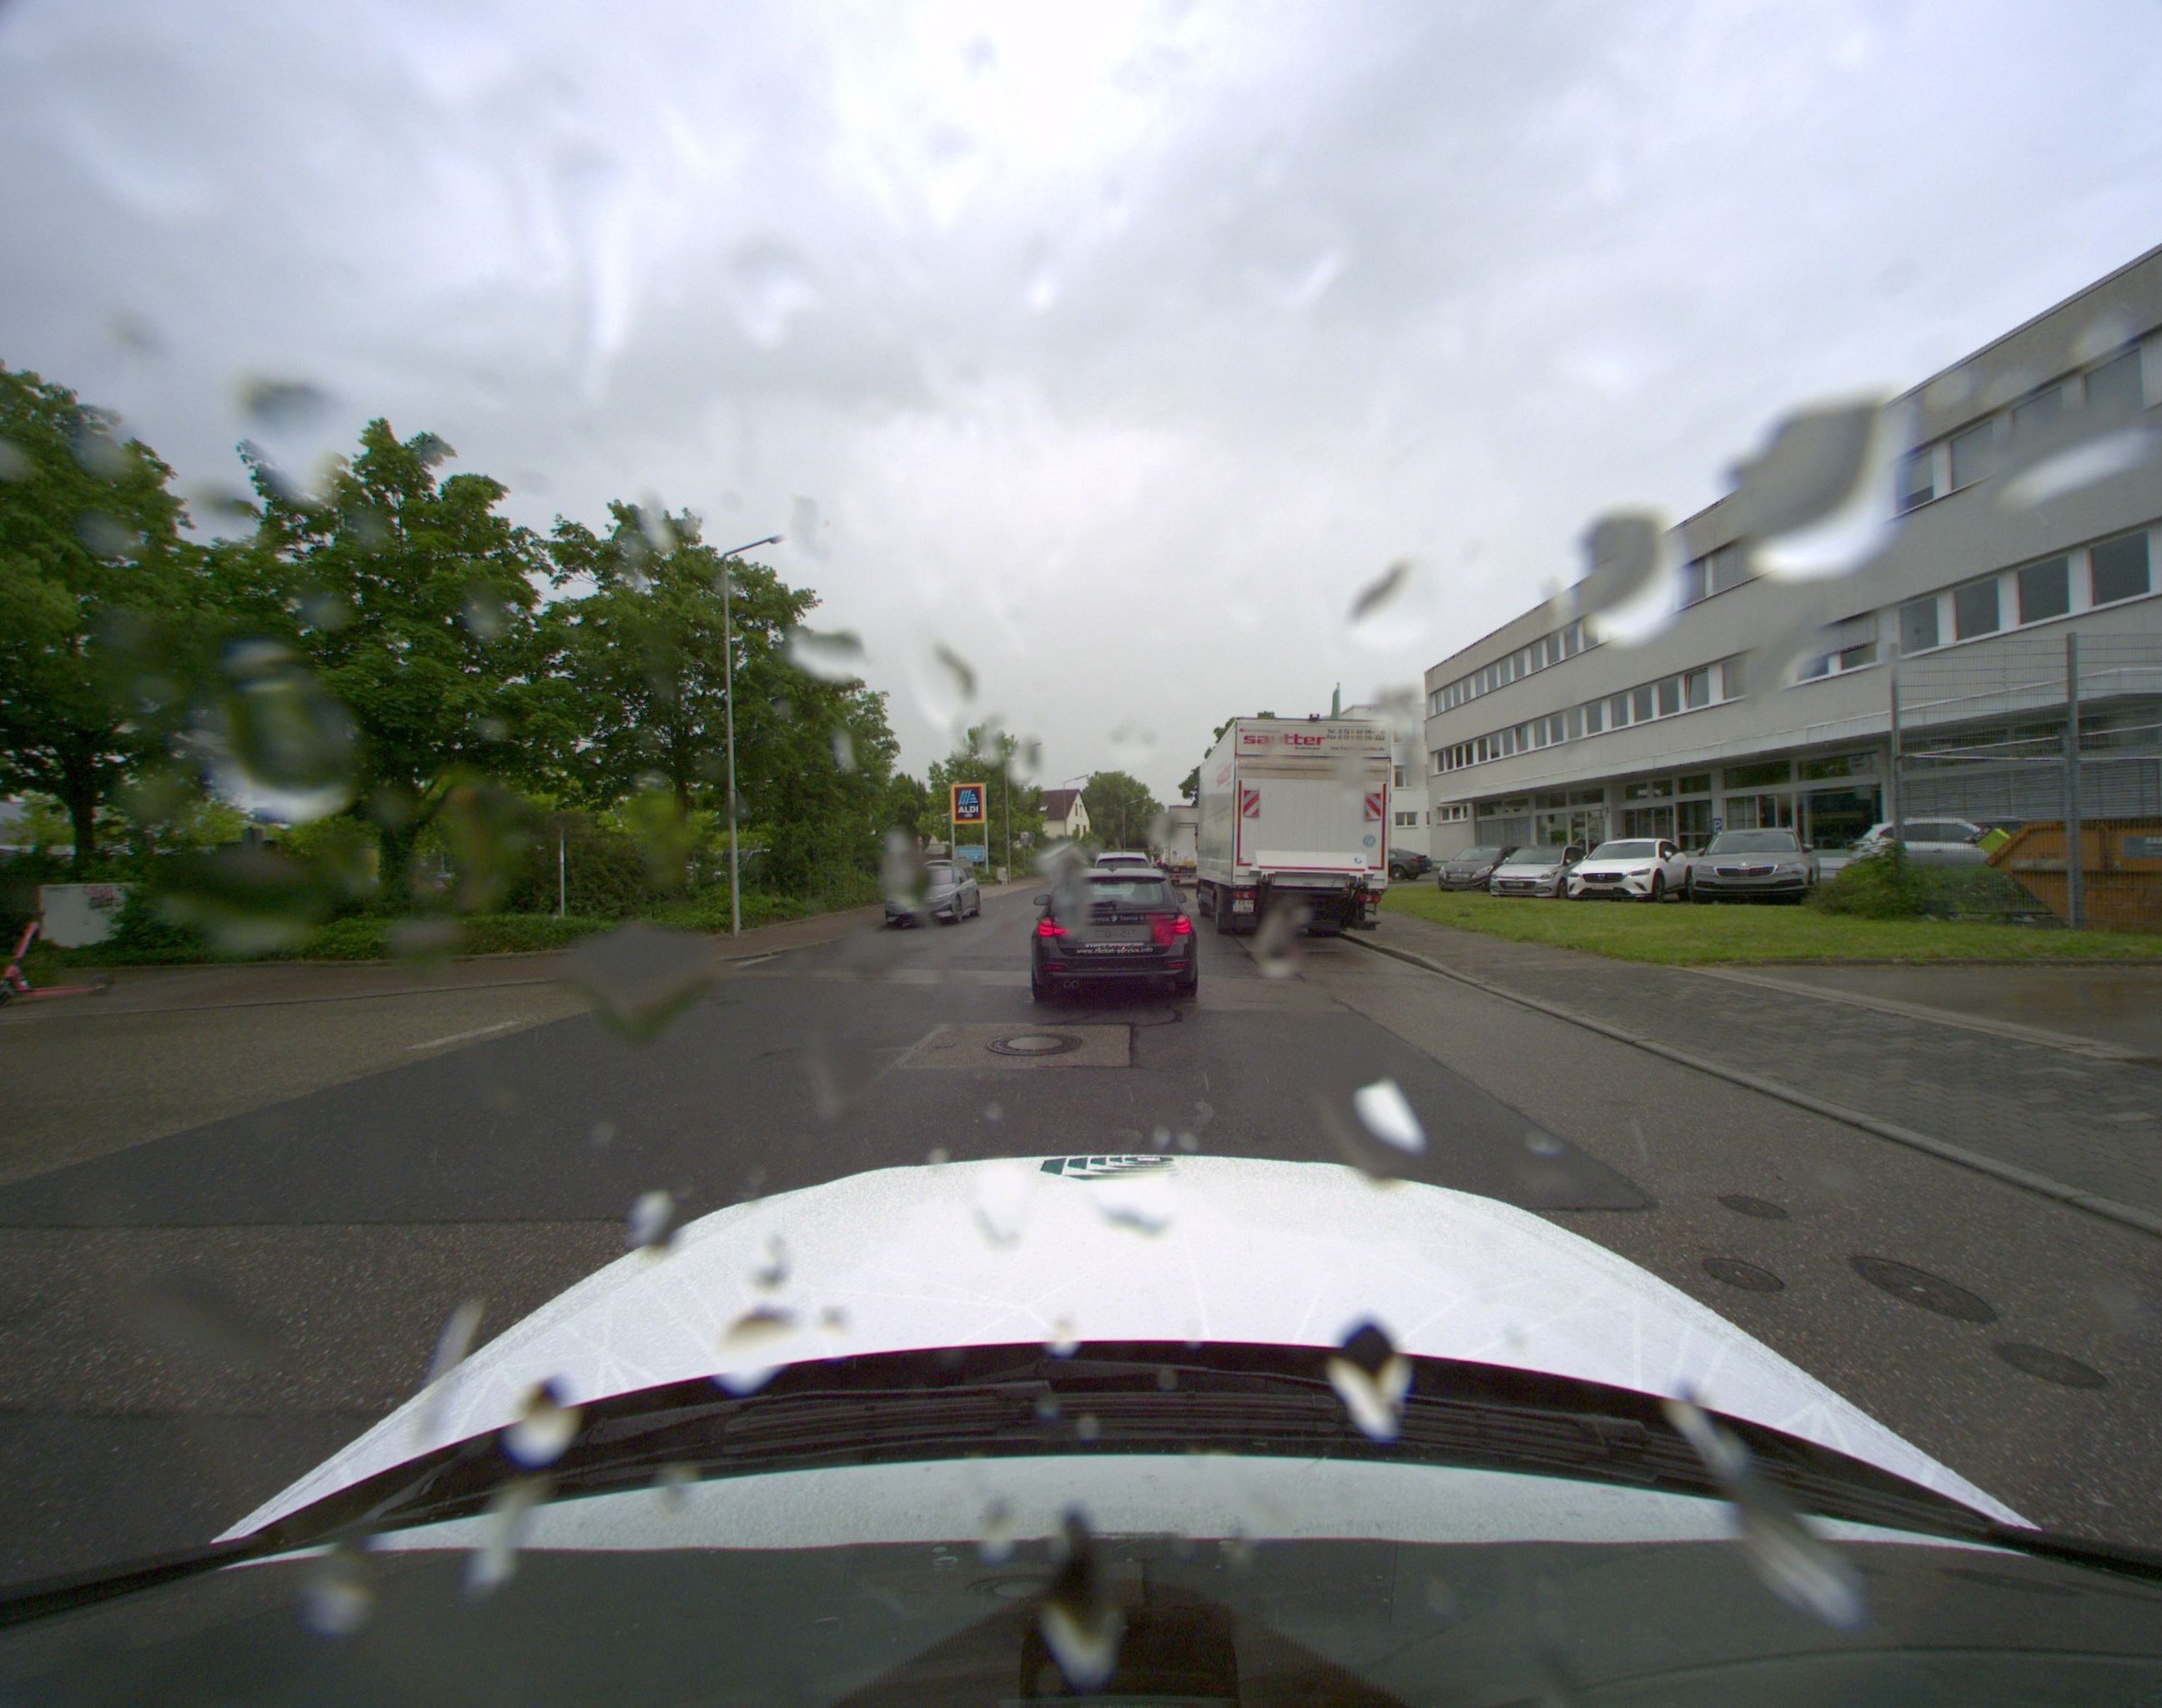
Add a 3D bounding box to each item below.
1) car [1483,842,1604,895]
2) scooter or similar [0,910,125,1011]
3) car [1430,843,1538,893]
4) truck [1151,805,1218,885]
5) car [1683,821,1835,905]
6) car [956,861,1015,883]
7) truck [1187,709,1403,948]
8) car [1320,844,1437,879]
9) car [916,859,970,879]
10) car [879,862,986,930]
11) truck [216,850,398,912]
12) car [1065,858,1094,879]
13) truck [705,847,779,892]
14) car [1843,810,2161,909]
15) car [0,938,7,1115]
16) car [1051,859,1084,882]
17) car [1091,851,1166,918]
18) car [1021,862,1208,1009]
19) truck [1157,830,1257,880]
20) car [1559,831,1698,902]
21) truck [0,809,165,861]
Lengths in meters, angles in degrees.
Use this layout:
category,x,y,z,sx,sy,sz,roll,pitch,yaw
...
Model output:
category,x,y,z,sx,sy,sz,roll,pitch,yaw
car,12.731,0.361,22.311,4.022,1.286,1.686,-2,0,-42
scooter or similar,-13.287,1.354,10.606,0.282,1.175,1.063,-2,-1,10
car,12.599,0.392,25.372,3.789,1.393,1.686,-2,0,-42
truck,5.089,-0.415,41.235,2.730,3.611,7.755,1,0,3
car,14.065,0.147,16.811,4.022,1.527,1.850,-2,0,-42
car,-6.284,1.174,53.641,3.553,1.460,1.714,0,0,4
truck,4.033,-0.405,17.699,2.729,3.789,9.307,1,0,3
car,13.475,0.370,37.025,4.616,1.468,1.802,-2,0,41
car,-11.430,1.218,67.660,3.969,1.540,1.912,-2,0,3
car,-3.979,1.060,22.628,1.802,1.528,4.750,-5,-1,2
truck,-35.877,1.172,38.096,1.984,2.601,6.404,-2,0,5
car,-0.103,1.065,61.595,1.697,1.367,3.845,-4,0,6
truck,-22.477,1.009,54.364,1.986,2.753,6.470,-2,0,2
car,18.285,0.104,16.433,1.986,1.706,4.145,-2,0,2
car,-8.725,0.984,4.245,3.972,1.441,1.737,-3,0,2
car,-0.898,1.076,55.647,1.697,1.367,4.607,-4,0,5
car,1.192,0.765,21.852,1.798,1.586,4.000,-1,-1,1
car,0.367,0.815,9.945,1.798,1.395,4.000,-1,-1,1
truck,8.961,-0.003,57.404,7.789,3.256,2.322,-1,3,-40
car,12.859,0.238,19.034,4.022,1.470,1.754,-2,0,-42
truck,-44.350,-0.753,35.422,1.987,2.060,6.135,-2,0,1
